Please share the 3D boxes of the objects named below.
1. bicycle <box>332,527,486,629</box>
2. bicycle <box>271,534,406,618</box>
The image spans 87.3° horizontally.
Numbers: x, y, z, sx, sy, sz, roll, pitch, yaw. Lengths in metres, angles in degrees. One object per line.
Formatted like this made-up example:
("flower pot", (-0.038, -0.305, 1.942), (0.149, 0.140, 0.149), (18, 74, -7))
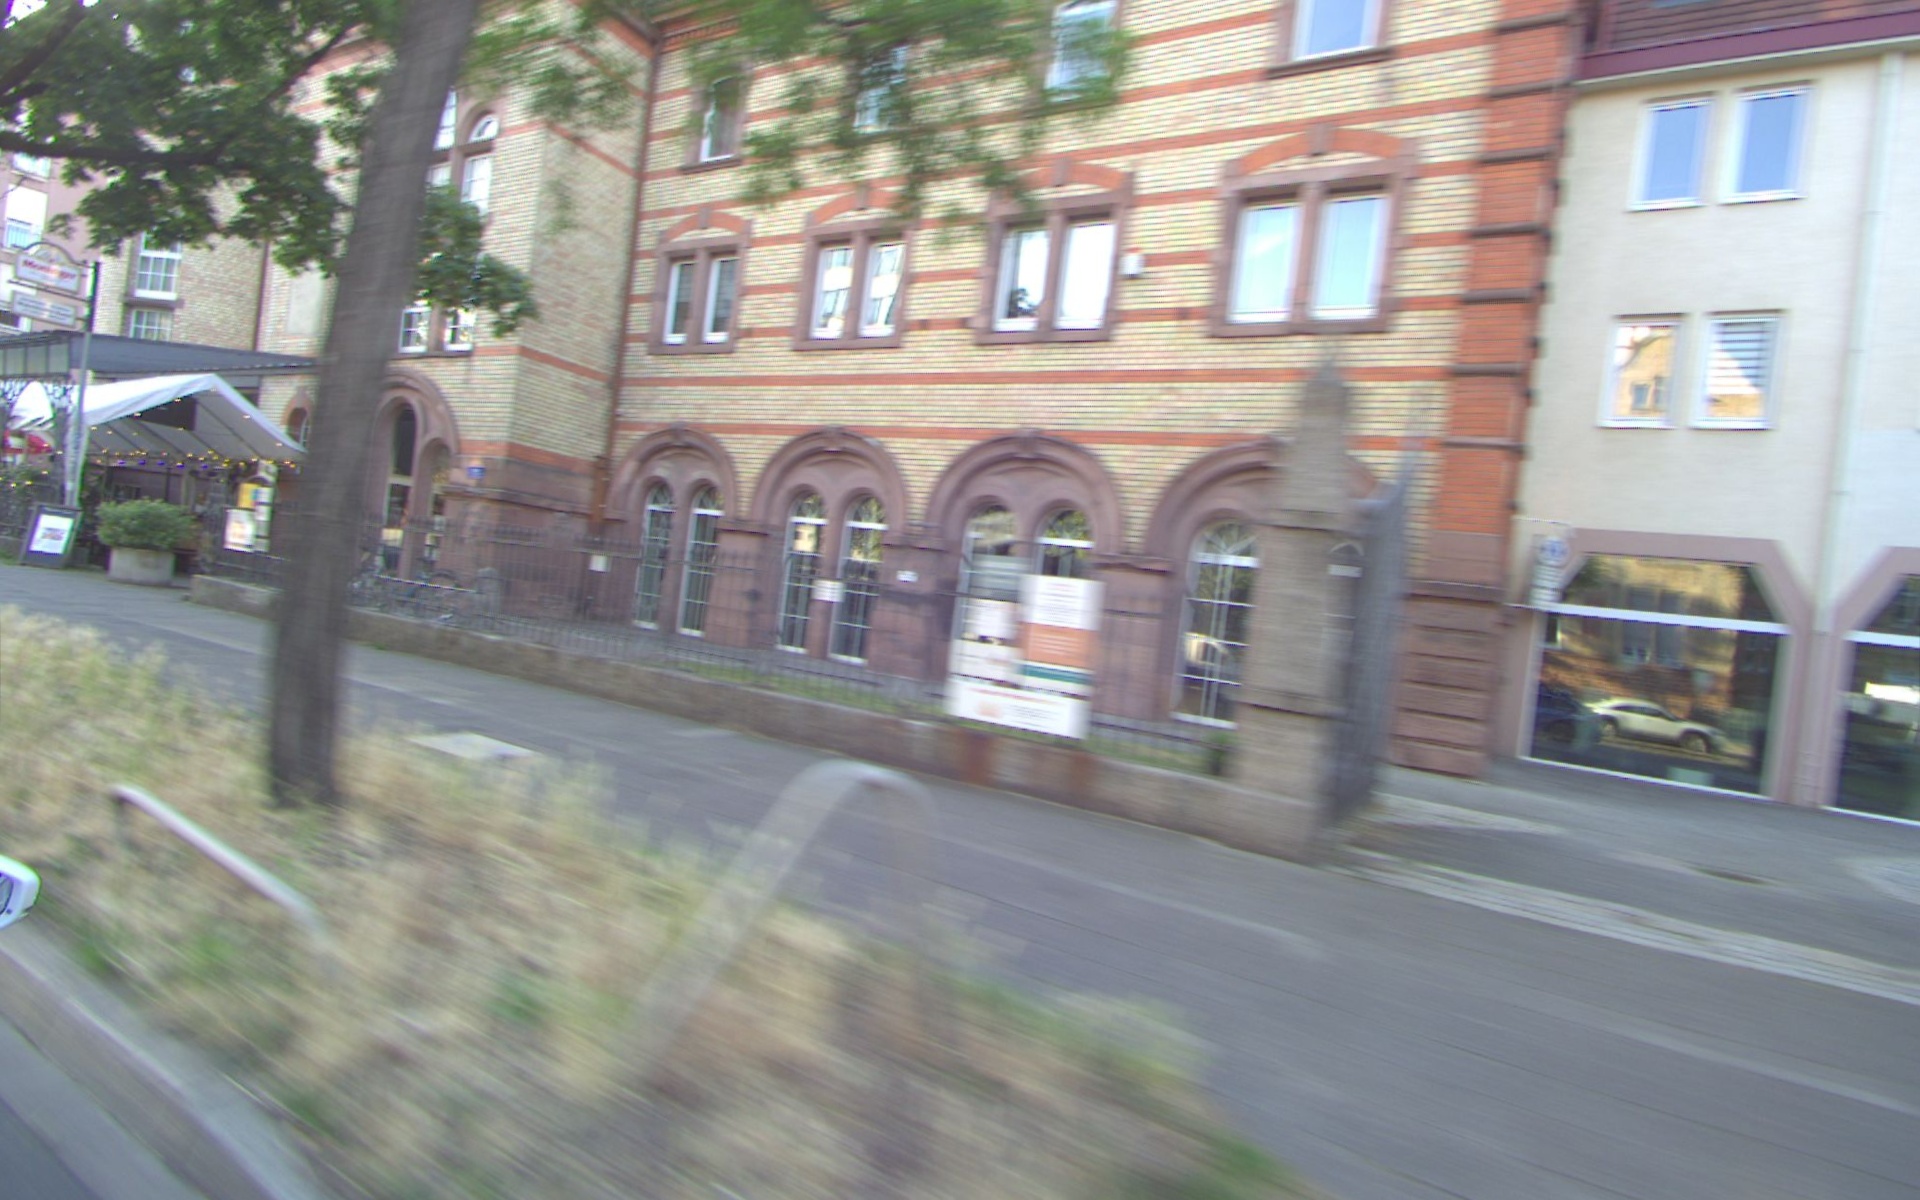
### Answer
("bicycle", (-7.576, -0.272, 13.929), (0.485, 1.150, 1.737), (7, -2, 32))
("bicycle", (-8.785, -0.318, 14.276), (0.525, 0.957, 1.448), (7, -2, 32))
